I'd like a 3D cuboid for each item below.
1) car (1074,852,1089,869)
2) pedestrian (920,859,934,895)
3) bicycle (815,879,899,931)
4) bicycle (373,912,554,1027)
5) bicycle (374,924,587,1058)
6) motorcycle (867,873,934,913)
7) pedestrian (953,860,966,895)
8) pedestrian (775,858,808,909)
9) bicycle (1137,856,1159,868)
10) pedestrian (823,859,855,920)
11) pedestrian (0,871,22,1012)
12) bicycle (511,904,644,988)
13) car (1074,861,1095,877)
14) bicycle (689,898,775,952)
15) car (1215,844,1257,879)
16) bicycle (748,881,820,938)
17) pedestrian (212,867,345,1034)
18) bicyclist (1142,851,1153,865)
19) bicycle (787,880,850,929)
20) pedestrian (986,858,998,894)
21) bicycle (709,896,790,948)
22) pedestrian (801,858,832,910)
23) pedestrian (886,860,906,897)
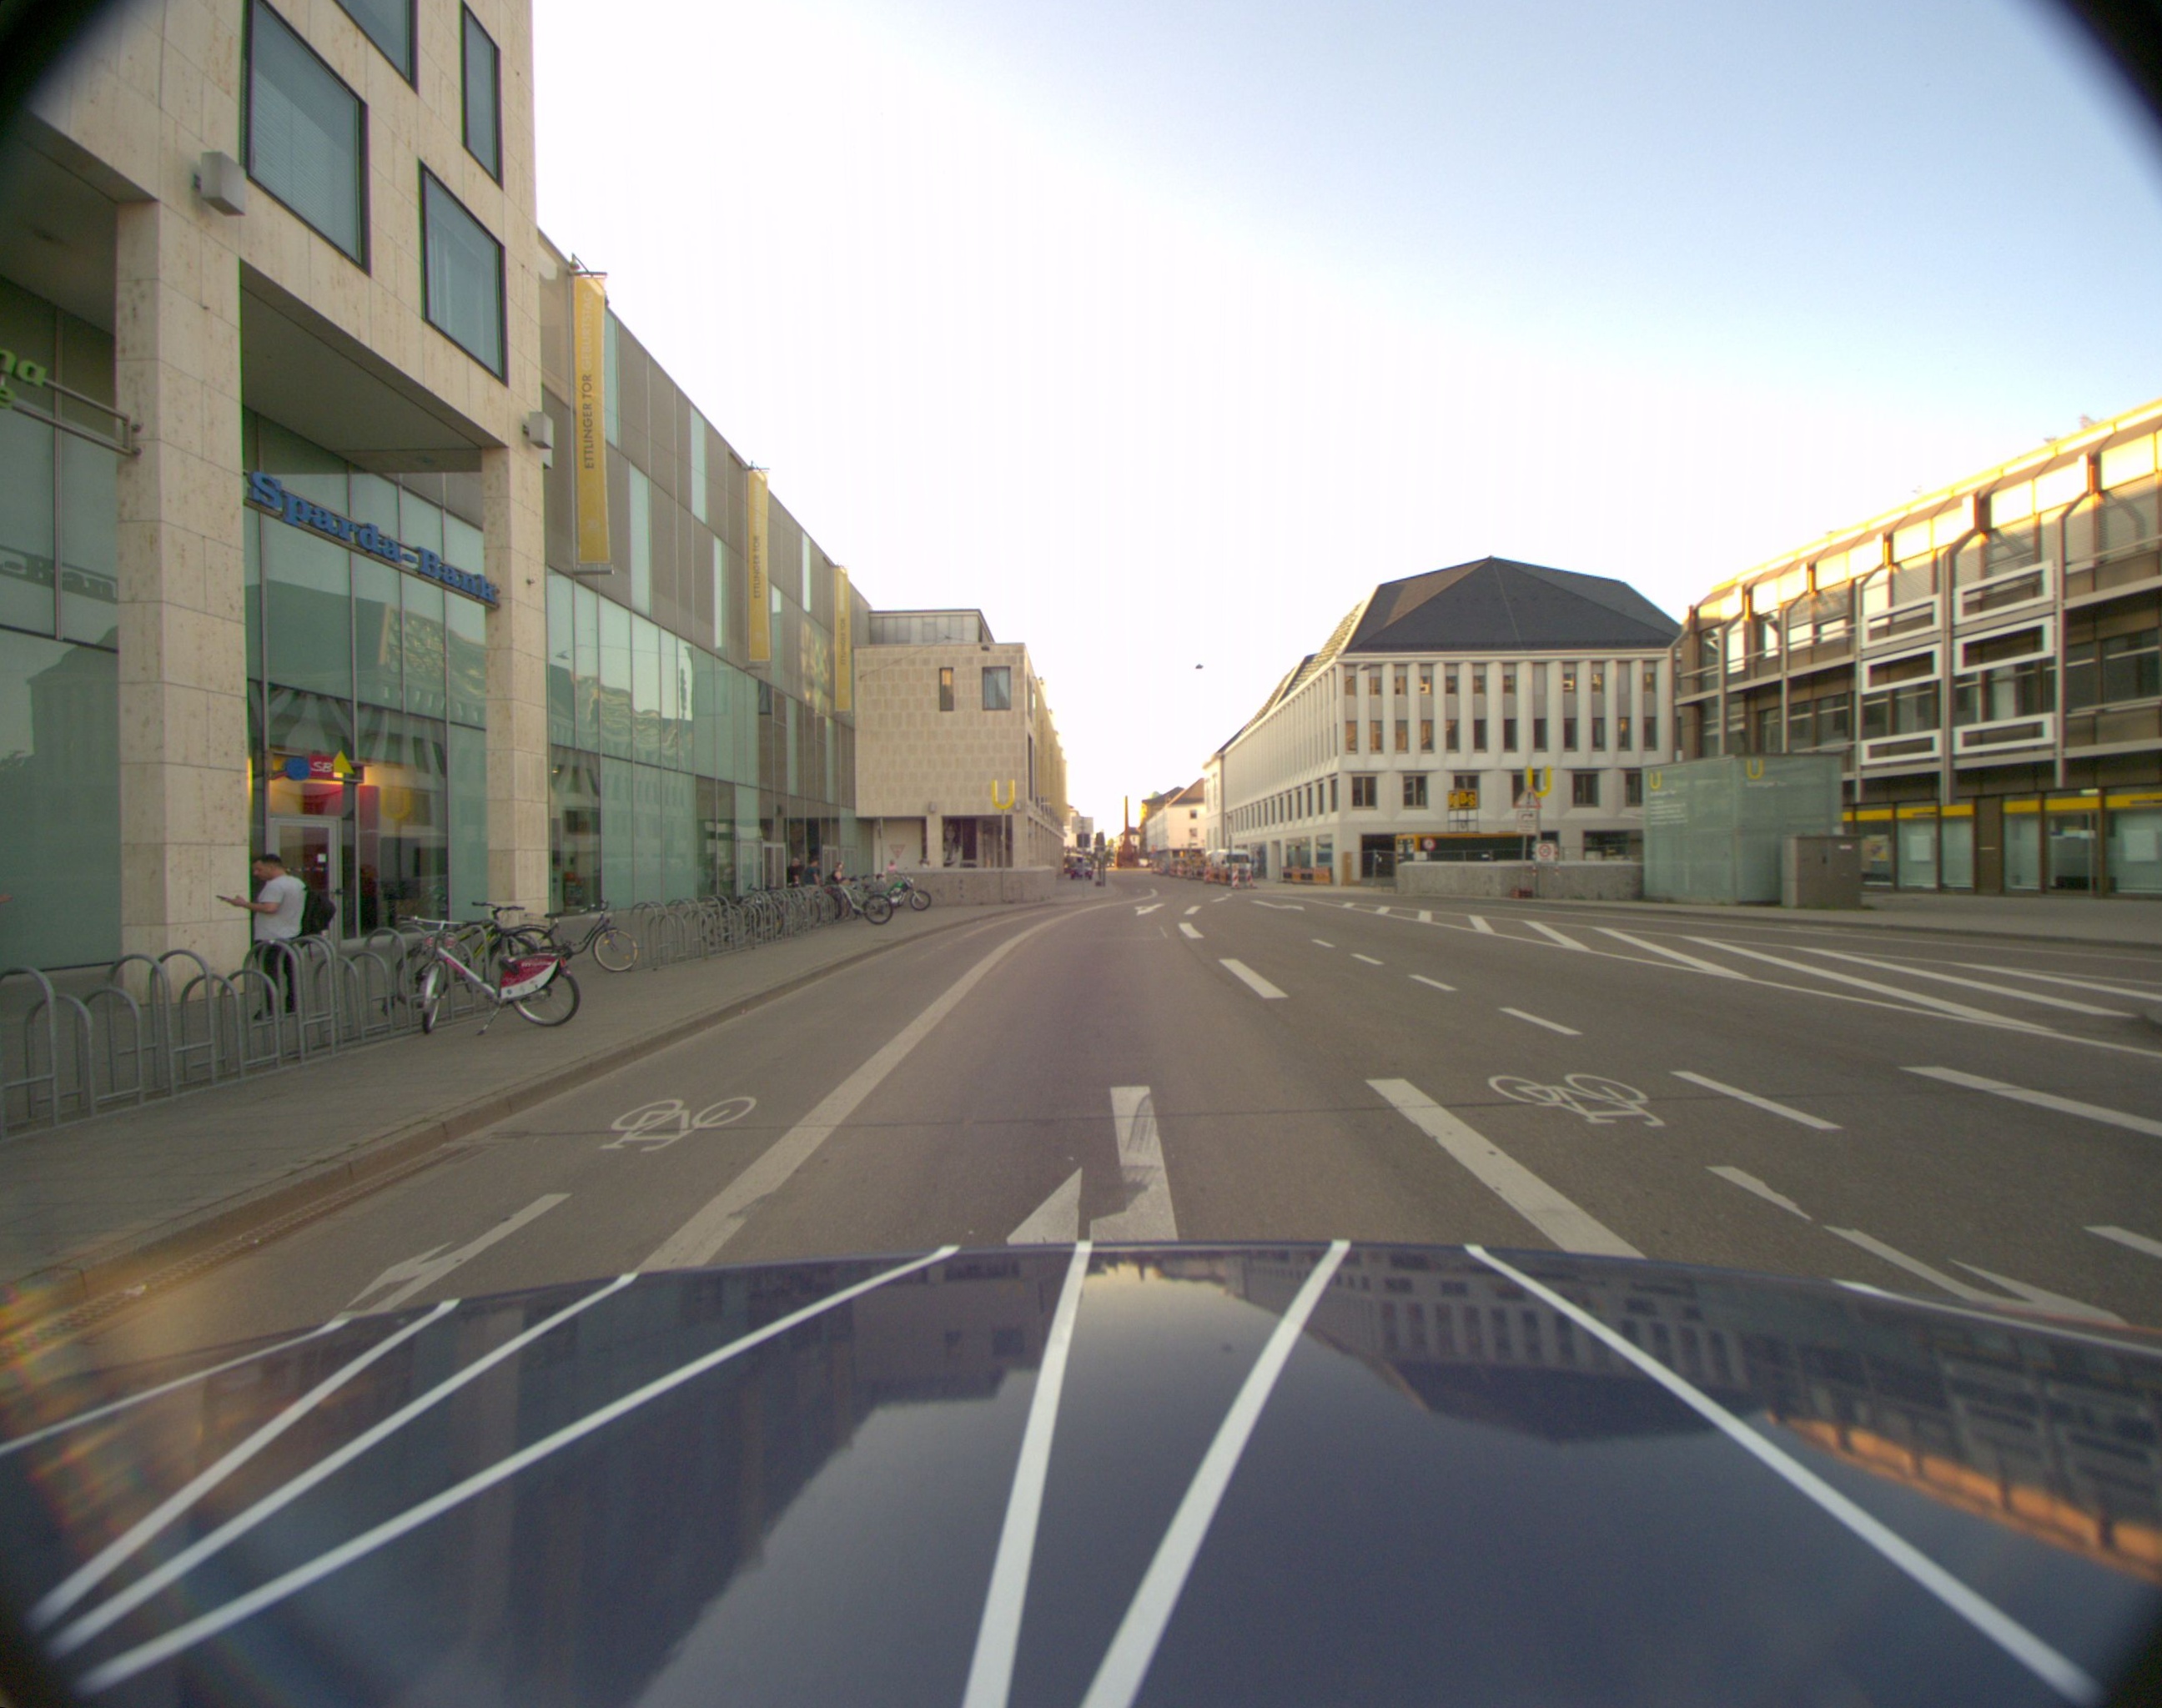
[{"bbox_3d":[0.134,0.856,100.636,1.798,2.198,3.671,-1,0,2],"label":"car"},{"bbox_3d":[-7.460,1.107,36.824,0.494,1.733,0.657,-1,0,3],"label":"pedestrian"},{"bbox_3d":[-5.387,1.219,18.320,1.838,1.140,0.466,-3,0,1],"label":"bicycle"},{"bbox_3d":[-6.796,1.258,8.392,1.518,1.117,0.581,-3,0,4],"label":"bicycle"},{"bbox_3d":[-5.396,1.219,6.866,1.518,1.057,0.466,-3,0,1],"label":"bicycle"},{"bbox_3d":[-5.708,1.242,24.085,2.007,1.217,0.480,-1,0,-2],"label":"motorcycle"},{"bbox_3d":[-6.085,1.161,38.018,0.504,1.733,0.493,-1,0,3],"label":"pedestrian"},{"bbox_3d":[-9.522,0.949,24.985,0.740,1.638,0.820,-1,0,1],"label":"pedestrian"},{"bbox_3d":[11.493,1.377,131.133,3.696,2.002,1.024,-1,0,31],"label":"bicycle"},{"bbox_3d":[-6.694,0.964,20.993,0.809,1.633,0.646,-1,0,-18],"label":"pedestrian"},{"bbox_3d":[-12.998,1.029,8.740,0.629,1.642,0.708,-1,0,2],"label":"pedestrian"},{"bbox_3d":[-7.301,1.315,11.072,1.447,1.058,0.580,-3,0,-10],"label":"bicycle"},{"bbox_3d":[0.343,1.300,67.910,1.798,1.365,3.671,-1,0,2],"label":"car"},{"bbox_3d":[-6.652,1.344,14.503,1.345,0.927,0.518,-3,0,-1],"label":"bicycle"},{"bbox_3d":[11.989,0.591,59.163,2.141,2.540,6.050,-1,0,1],"label":"car"},{"bbox_3d":[-6.657,1.238,17.078,1.345,1.157,0.518,-3,0,-1],"label":"bicycle"},{"bbox_3d":[-8.410,0.981,7.989,0.707,1.682,0.630,-1,0,2],"label":"pedestrian"},{"bbox_3d":[11.494,0.623,131.133,1.548,2.391,1.208,-1,0,30],"label":"bicyclist"},{"bbox_3d":[-6.601,1.265,19.163,1.345,1.157,0.518,-3,0,-1],"label":"bicycle"},{"bbox_3d":[-4.273,1.038,36.438,0.454,1.733,0.493,-1,0,3],"label":"pedestrian"},{"bbox_3d":[-6.594,1.353,15.149,1.345,0.927,0.518,-3,0,-1],"label":"bicycle"},{"bbox_3d":[-8.744,0.985,25.125,0.698,1.686,0.820,-1,0,2],"label":"pedestrian"},{"bbox_3d":[-8.892,1.165,36.537,0.793,1.733,0.657,-1,0,3],"label":"pedestrian"}]
